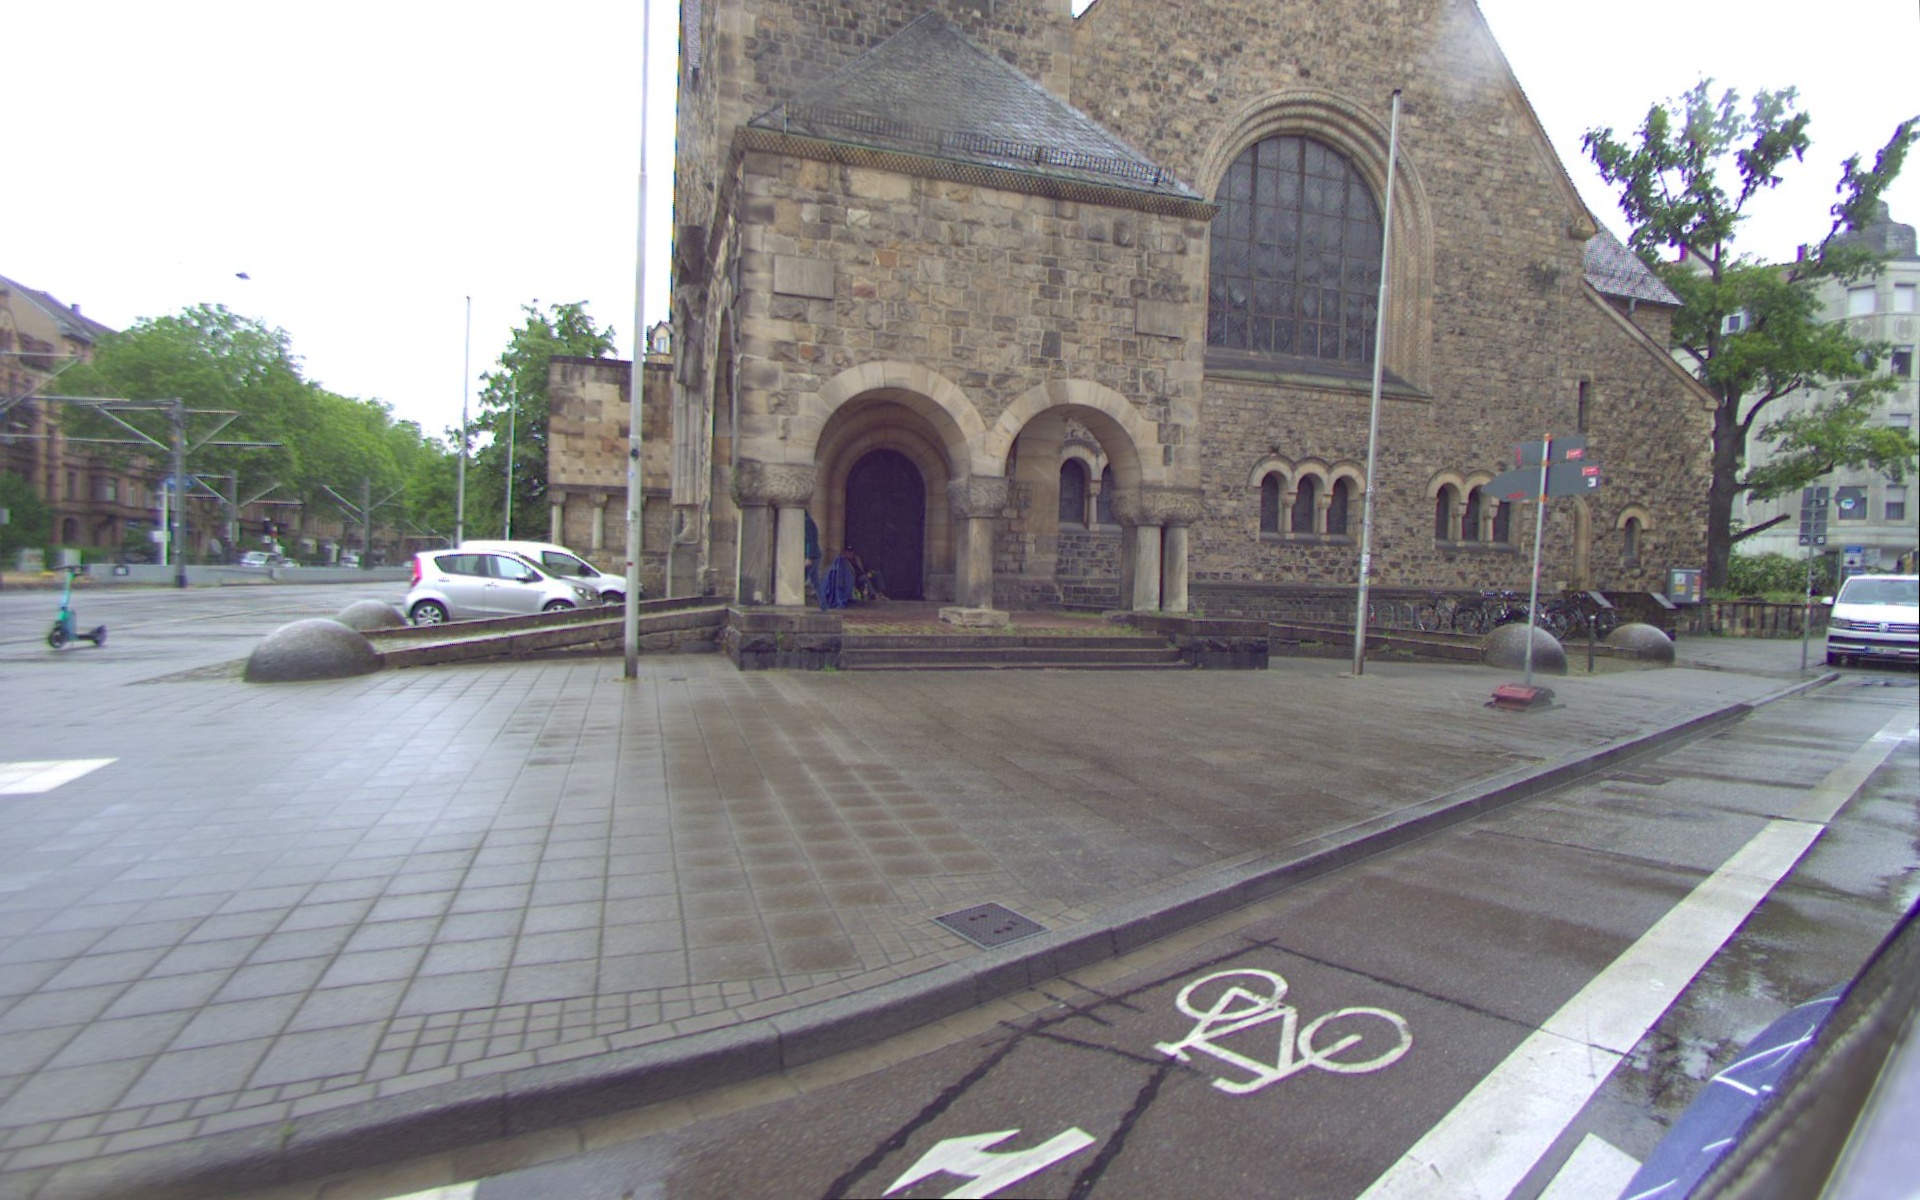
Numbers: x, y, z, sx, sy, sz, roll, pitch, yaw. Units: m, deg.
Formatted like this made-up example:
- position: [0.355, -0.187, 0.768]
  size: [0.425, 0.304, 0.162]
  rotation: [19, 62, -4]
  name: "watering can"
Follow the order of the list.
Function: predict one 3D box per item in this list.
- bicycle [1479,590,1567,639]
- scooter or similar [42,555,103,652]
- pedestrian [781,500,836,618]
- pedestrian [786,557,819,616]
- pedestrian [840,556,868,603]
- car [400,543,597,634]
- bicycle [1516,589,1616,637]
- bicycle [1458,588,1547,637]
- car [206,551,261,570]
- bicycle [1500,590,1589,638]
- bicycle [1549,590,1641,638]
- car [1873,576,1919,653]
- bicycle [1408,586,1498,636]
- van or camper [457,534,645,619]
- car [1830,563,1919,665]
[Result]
- position: [13.666, 0.336, 24.642]
  size: [0.569, 1.073, 1.933]
  rotation: [1, 2, -20]
  name: "bicycle"
- position: [-13.362, 0.035, 15.249]
  size: [0.280, 1.404, 1.106]
  rotation: [1, 1, -19]
  name: "scooter or similar"
- position: [-2.291, -0.609, 15.286]
  size: [0.664, 1.724, 0.635]
  rotation: [1, 1, -22]
  name: "pedestrian"
- position: [-2.453, -0.210, 15.732]
  size: [0.388, 0.895, 0.457]
  rotation: [1, 1, -22]
  name: "pedestrian"
- position: [-2.070, -0.405, 19.682]
  size: [0.447, 0.895, 0.397]
  rotation: [1, 1, -19]
  name: "pedestrian"
- position: [-9.059, -0.265, 20.136]
  size: [3.288, 1.593, 1.740]
  rotation: [-3, 2, -16]
  name: "car"
- position: [15.058, 0.310, 25.213]
  size: [0.663, 1.073, 2.161]
  rotation: [1, 2, -20]
  name: "bicycle"
- position: [13.038, 0.279, 24.394]
  size: [0.569, 1.073, 1.933]
  rotation: [1, 2, -23]
  name: "bicycle"
- position: [-64.372, -3.501, 89.699]
  size: [3.756, 1.644, 1.772]
  rotation: [0, 2, -43]
  name: "car"
- position: [14.377, 0.327, 24.954]
  size: [0.569, 1.073, 1.933]
  rotation: [1, 2, -20]
  name: "bicycle"
- position: [15.901, 0.332, 25.392]
  size: [0.593, 1.079, 1.987]
  rotation: [1, 2, -20]
  name: "bicycle"
- position: [25.095, 0.367, 26.114]
  size: [4.222, 1.868, 1.835]
  rotation: [0, 2, -42]
  name: "car"
- position: [11.744, 0.246, 24.177]
  size: [0.565, 1.062, 2.013]
  rotation: [1, 2, -25]
  name: "bicycle"
- position: [-9.379, -0.589, 23.497]
  size: [3.848, 1.749, 1.653]
  rotation: [-3, 3, -18]
  name: "van or camper"
- position: [20.388, 0.266, 21.757]
  size: [5.182, 1.946, 1.907]
  rotation: [0, 2, -42]
  name: "car"
